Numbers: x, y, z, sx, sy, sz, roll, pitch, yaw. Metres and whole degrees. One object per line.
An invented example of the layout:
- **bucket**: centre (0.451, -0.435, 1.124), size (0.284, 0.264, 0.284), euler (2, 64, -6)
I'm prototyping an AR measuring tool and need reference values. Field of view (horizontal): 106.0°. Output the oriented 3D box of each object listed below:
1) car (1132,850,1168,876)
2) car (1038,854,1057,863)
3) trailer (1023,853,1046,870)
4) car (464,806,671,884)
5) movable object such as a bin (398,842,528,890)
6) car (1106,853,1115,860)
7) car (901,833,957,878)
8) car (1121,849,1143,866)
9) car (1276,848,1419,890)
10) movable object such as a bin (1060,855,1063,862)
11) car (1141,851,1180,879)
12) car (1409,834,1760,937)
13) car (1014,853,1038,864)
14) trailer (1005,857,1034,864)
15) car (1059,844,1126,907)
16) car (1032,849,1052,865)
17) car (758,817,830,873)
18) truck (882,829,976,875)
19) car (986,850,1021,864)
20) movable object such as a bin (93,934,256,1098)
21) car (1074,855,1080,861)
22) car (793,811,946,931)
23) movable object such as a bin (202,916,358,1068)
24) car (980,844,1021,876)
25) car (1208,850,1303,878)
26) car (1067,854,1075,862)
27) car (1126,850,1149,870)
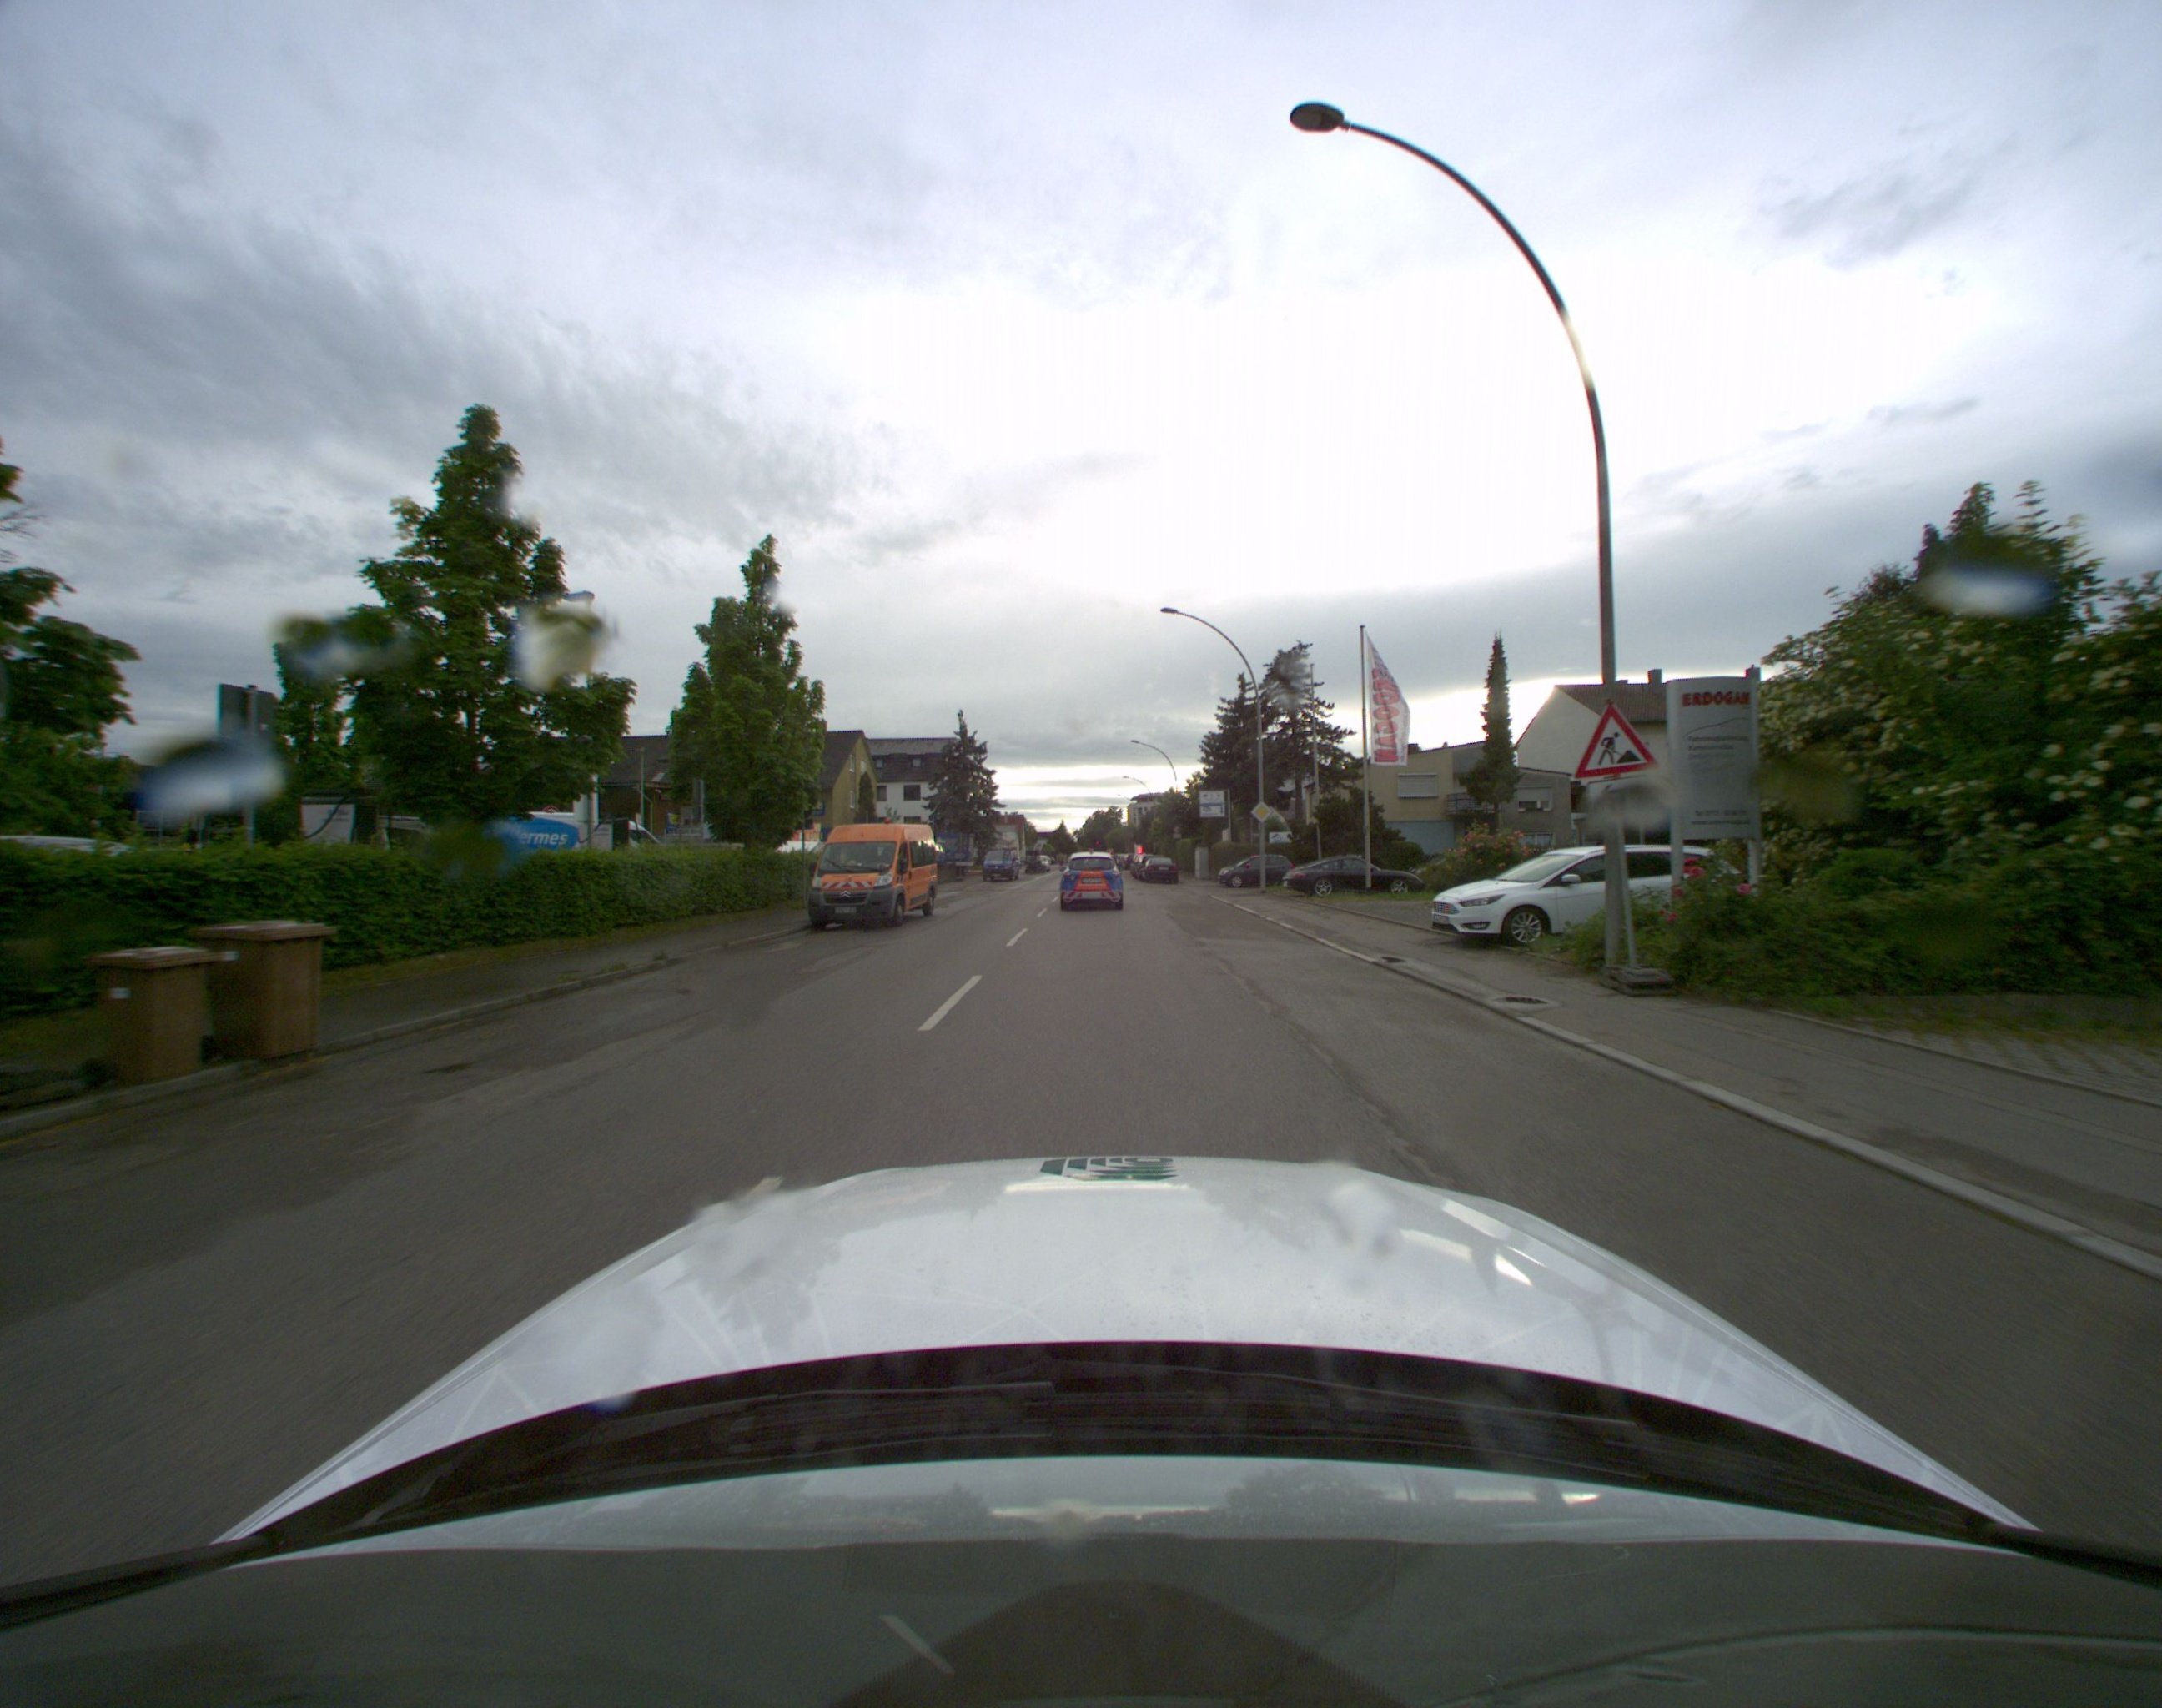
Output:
- **car**: centre (4.007, 0.511, 47.825), size (1.652, 1.419, 4.775), euler (0, 0, -1)
- **car**: centre (-6.090, 0.793, 147.223), size (3.274, 1.448, 1.478), euler (-2, 0, -3)
- **trailer**: centre (-3.976, 0.585, 70.168), size (1.712, 1.260, 5.243), euler (0, 2, -1)
- **car**: centre (-13.885, -0.234, 22.224), size (4.290, 2.014, 2.063), euler (0, -1, 1)
- **movable object such as a bin**: centre (-23.788, 0.463, 31.489), size (3.416, 1.759, 1.996), euler (0, 0, -6)
- **car**: centre (6.444, 0.467, 177.302), size (1.645, 1.483, 3.999), euler (0, 0, 0)
- **car**: centre (-9.288, 0.109, 50.431), size (2.067, 2.567, 6.204), euler (0, 0, 2)
- **car**: centre (4.690, 0.326, 75.116), size (1.706, 1.438, 4.524), euler (0, 0, -1)
- **car**: centre (8.390, 0.454, 25.939), size (3.970, 1.266, 1.952), euler (0, 0, 3)
- **movable object such as a bin**: centre (-3.389, 0.793, 141.220), size (0.577, 1.204, 0.319), euler (0, 0, 1)
- **car**: centre (4.159, 0.543, 42.974), size (1.584, 1.341, 4.092), euler (2, 0, 0)
- **car**: centre (7.666, 0.456, 12.734), size (4.324, 1.475, 1.903), euler (0, 0, 0)
- **car**: centre (-8.112, 0.639, 120.381), size (3.572, 1.526, 1.653), euler (0, 0, -3)
- **trailer**: centre (-8.851, 0.907, 117.920), size (4.010, 0.995, 1.655), euler (0, 0, -1)
- **car**: centre (0.327, 0.563, 23.195), size (1.726, 1.631, 3.494), euler (-1, 0, 0)
- **car**: centre (-3.720, 0.309, 77.980), size (1.551, 1.433, 4.001), euler (0, 0, 1)
- **car**: centre (-16.391, -0.477, 46.857), size (2.067, 3.013, 5.245), euler (0, 0, 2)
- **truck**: centre (-10.287, -0.110, 55.509), size (5.889, 3.073, 2.450), euler (0, -1, 1)
- **car**: centre (-8.644, 0.377, 91.076), size (3.748, 1.568, 1.655), euler (0, -1, -1)
- **movable object such as a bin**: centre (-6.689, 1.165, 6.037), size (0.488, 1.082, 0.622), euler (0, -1, 6)
- **car**: centre (-0.854, 0.749, 171.697), size (1.147, 1.232, 3.371), euler (-2, 0, 0)
- **car**: centre (-5.143, 0.351, 20.886), size (2.117, 2.537, 6.023), euler (-3, 0, 1)
- **movable object such as a bin**: centre (-6.675, 1.124, 6.812), size (0.669, 1.157, 0.622), euler (0, -1, 5)
- **car**: centre (-5.105, 0.374, 52.339), size (1.987, 1.947, 5.365), euler (-1, 0, 1)
- **car**: centre (8.014, 0.450, 37.648), size (3.975, 1.266, 1.950), euler (0, 0, -1)
- **car**: centre (-1.949, 0.799, 156.203), size (1.382, 1.483, 3.783), euler (-1, 0, 0)
- **car**: centre (4.093, 0.420, 59.556), size (1.481, 1.439, 3.808), euler (0, 0, 1)
